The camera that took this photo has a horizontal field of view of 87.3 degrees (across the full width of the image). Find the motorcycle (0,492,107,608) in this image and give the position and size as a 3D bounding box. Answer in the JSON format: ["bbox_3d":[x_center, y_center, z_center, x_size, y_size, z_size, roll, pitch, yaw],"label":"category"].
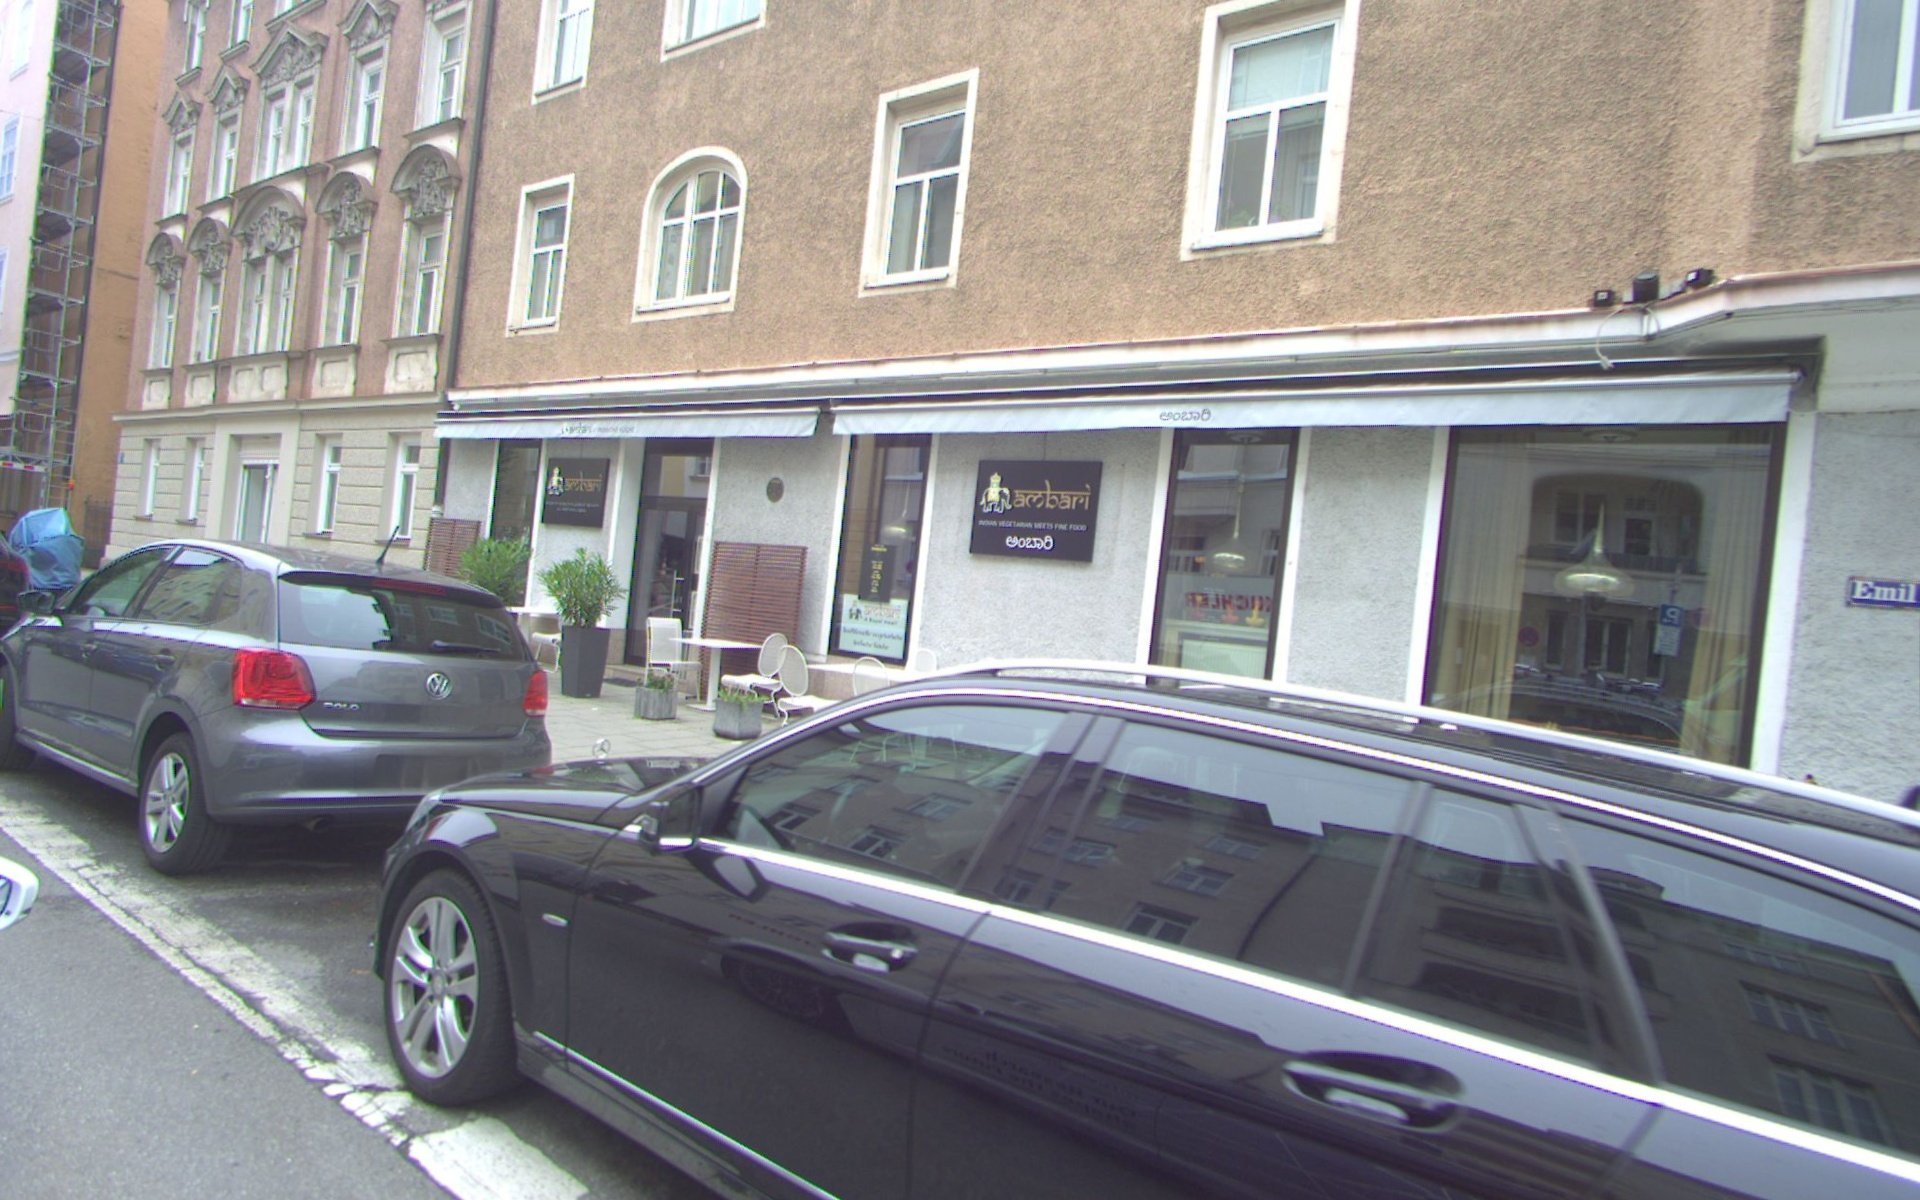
[{"bbox_3d":[-13.582,-0.763,14.919,1.966,1.523,0.871,6,0,36],"label":"motorcycle"}]

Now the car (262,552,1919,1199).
[{"bbox_3d":[0.323,0.834,2.581,4.712,1.422,1.848,6,-1,35],"label":"car"}]

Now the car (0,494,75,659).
[{"bbox_3d":[-11.823,-0.520,10.858,5.546,1.571,1.933,6,-1,34],"label":"car"}]

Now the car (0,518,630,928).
[{"bbox_3d":[-3.853,0.411,5.538,4.115,1.411,1.573,5,-1,34],"label":"car"}]
